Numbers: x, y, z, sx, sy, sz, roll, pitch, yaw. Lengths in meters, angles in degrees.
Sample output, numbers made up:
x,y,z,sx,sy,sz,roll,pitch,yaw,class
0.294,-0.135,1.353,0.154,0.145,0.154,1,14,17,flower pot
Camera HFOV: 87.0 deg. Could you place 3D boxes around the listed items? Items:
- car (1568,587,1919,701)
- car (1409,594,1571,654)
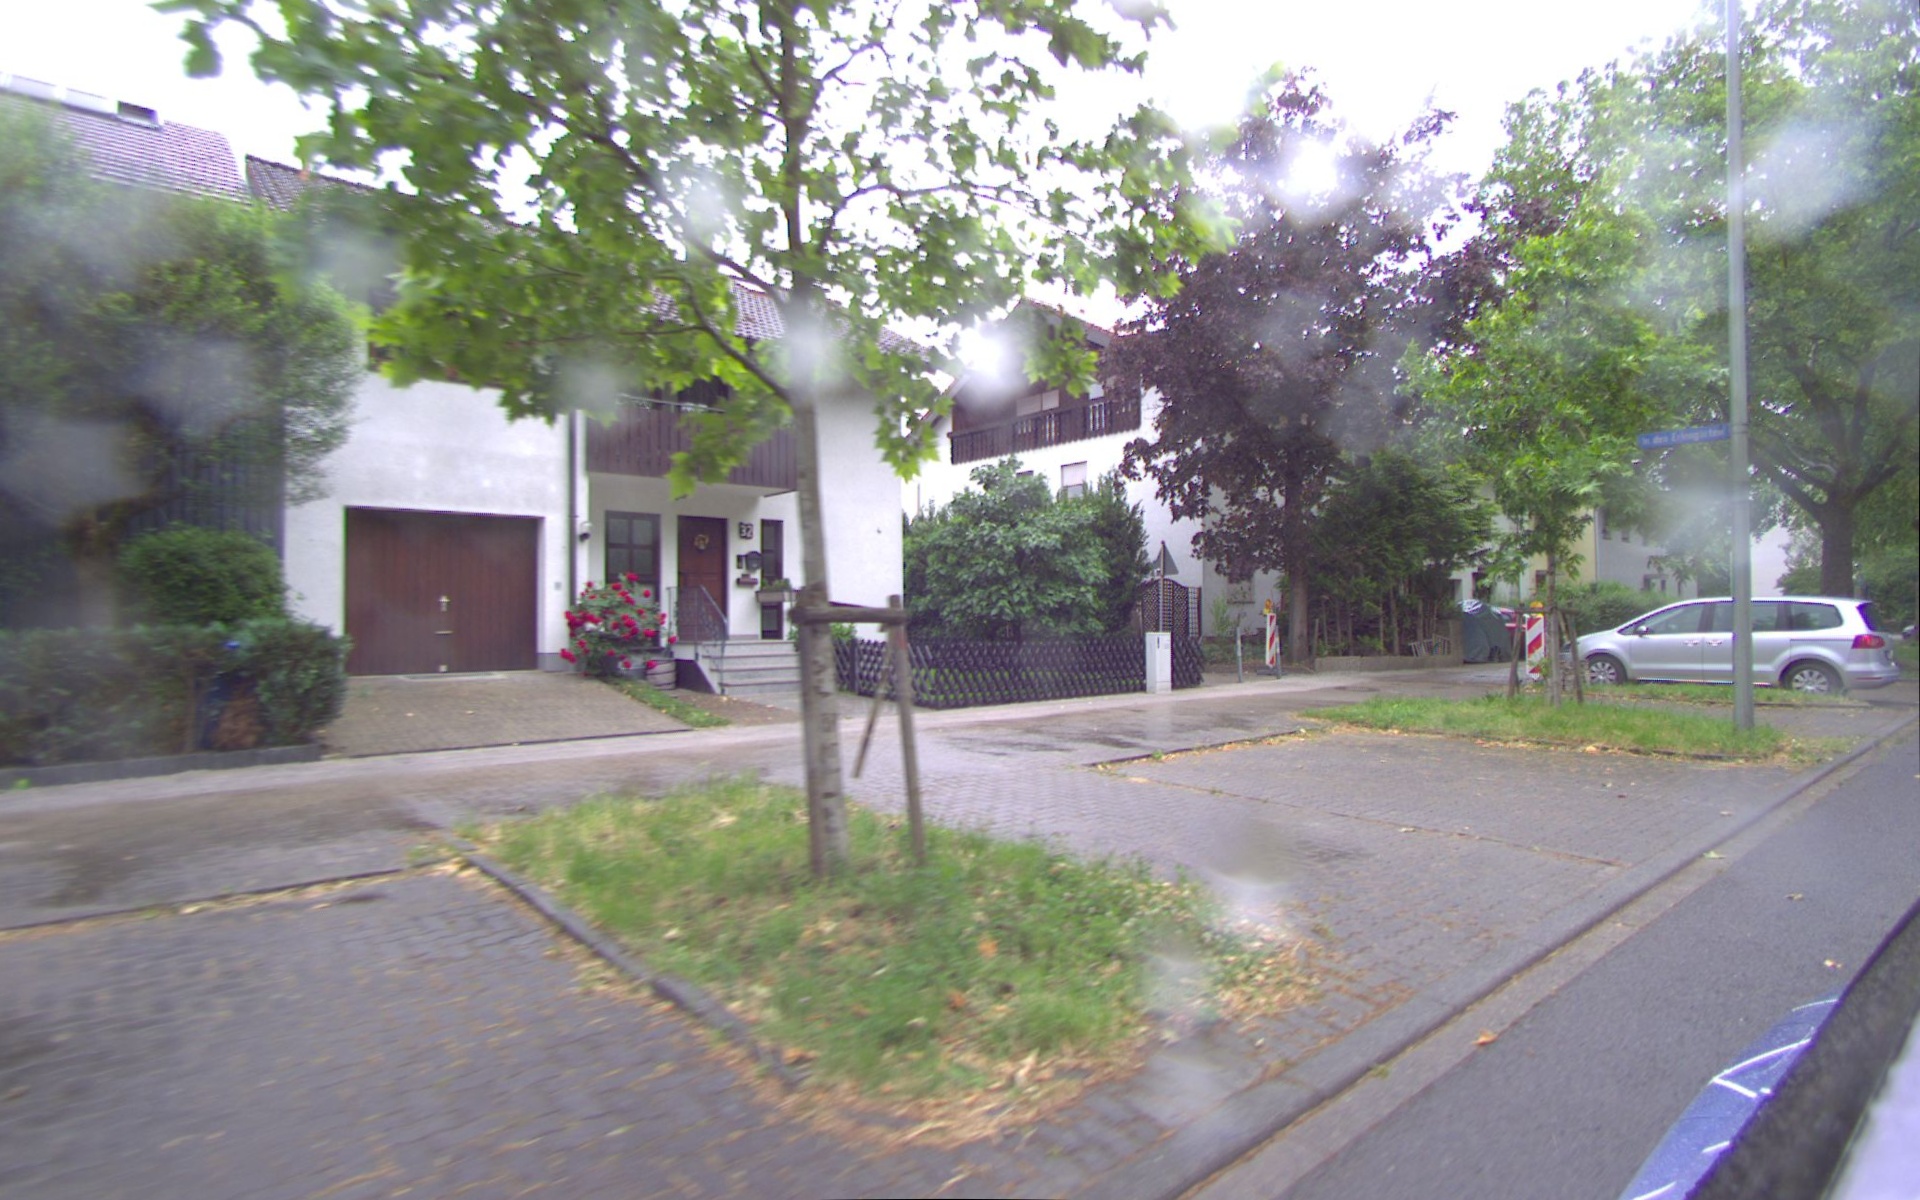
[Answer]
x,y,z,sx,sy,sz,roll,pitch,yaw,class
13.407,0.662,17.432,1.942,1.682,4.695,1,-1,-42,car
15.585,0.671,29.883,1.809,1.633,3.853,1,-1,-38,car
